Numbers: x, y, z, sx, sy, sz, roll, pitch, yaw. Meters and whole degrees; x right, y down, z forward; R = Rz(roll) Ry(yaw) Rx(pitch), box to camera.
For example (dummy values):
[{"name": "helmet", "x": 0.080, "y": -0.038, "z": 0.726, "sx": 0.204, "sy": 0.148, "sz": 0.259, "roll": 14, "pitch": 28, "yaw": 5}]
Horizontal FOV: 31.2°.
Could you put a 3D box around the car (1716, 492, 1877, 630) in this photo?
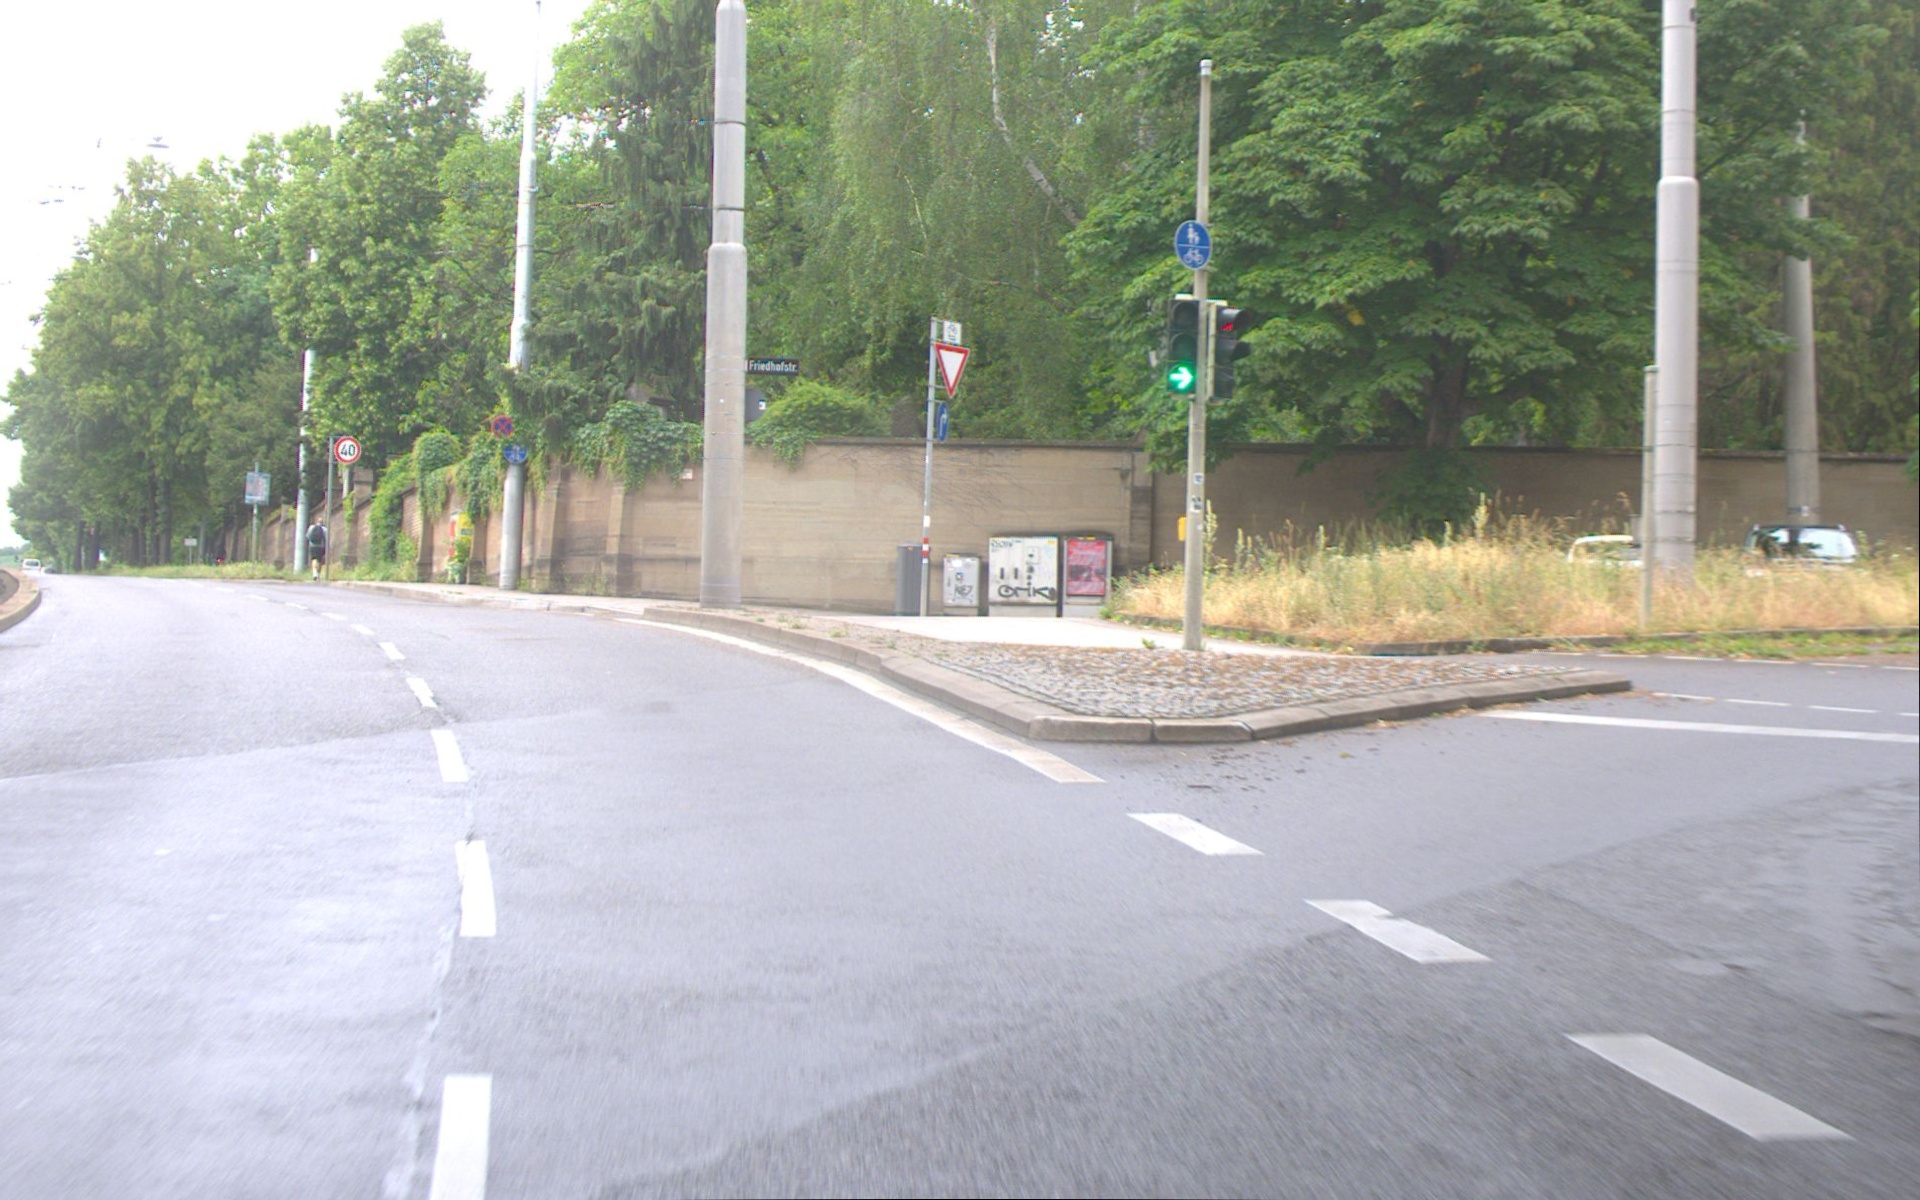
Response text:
[{"name": "car", "x": 11.513, "y": -0.505, "z": 47.528, "sx": 1.753, "sy": 1.797, "sz": 4.272, "roll": 1, "pitch": 0, "yaw": 8}]

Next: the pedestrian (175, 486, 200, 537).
[{"name": "pedestrian", "x": -26.197, "y": -2.998, "z": 116.583, "sx": 0.719, "sy": 1.681, "sz": 0.729, "roll": 3, "pitch": 0, "yaw": -16}]

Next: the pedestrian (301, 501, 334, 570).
[{"name": "pedestrian", "x": -17.486, "y": -1.750, "z": 93.520, "sx": 0.719, "sy": 1.843, "sz": 0.783, "roll": 3, "pitch": 0, "yaw": -16}]

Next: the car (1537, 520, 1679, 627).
[{"name": "car", "x": 8.979, "y": -0.350, "z": 47.871, "sx": 1.753, "sy": 1.401, "sz": 3.998, "roll": 1, "pitch": 0, "yaw": 8}]
